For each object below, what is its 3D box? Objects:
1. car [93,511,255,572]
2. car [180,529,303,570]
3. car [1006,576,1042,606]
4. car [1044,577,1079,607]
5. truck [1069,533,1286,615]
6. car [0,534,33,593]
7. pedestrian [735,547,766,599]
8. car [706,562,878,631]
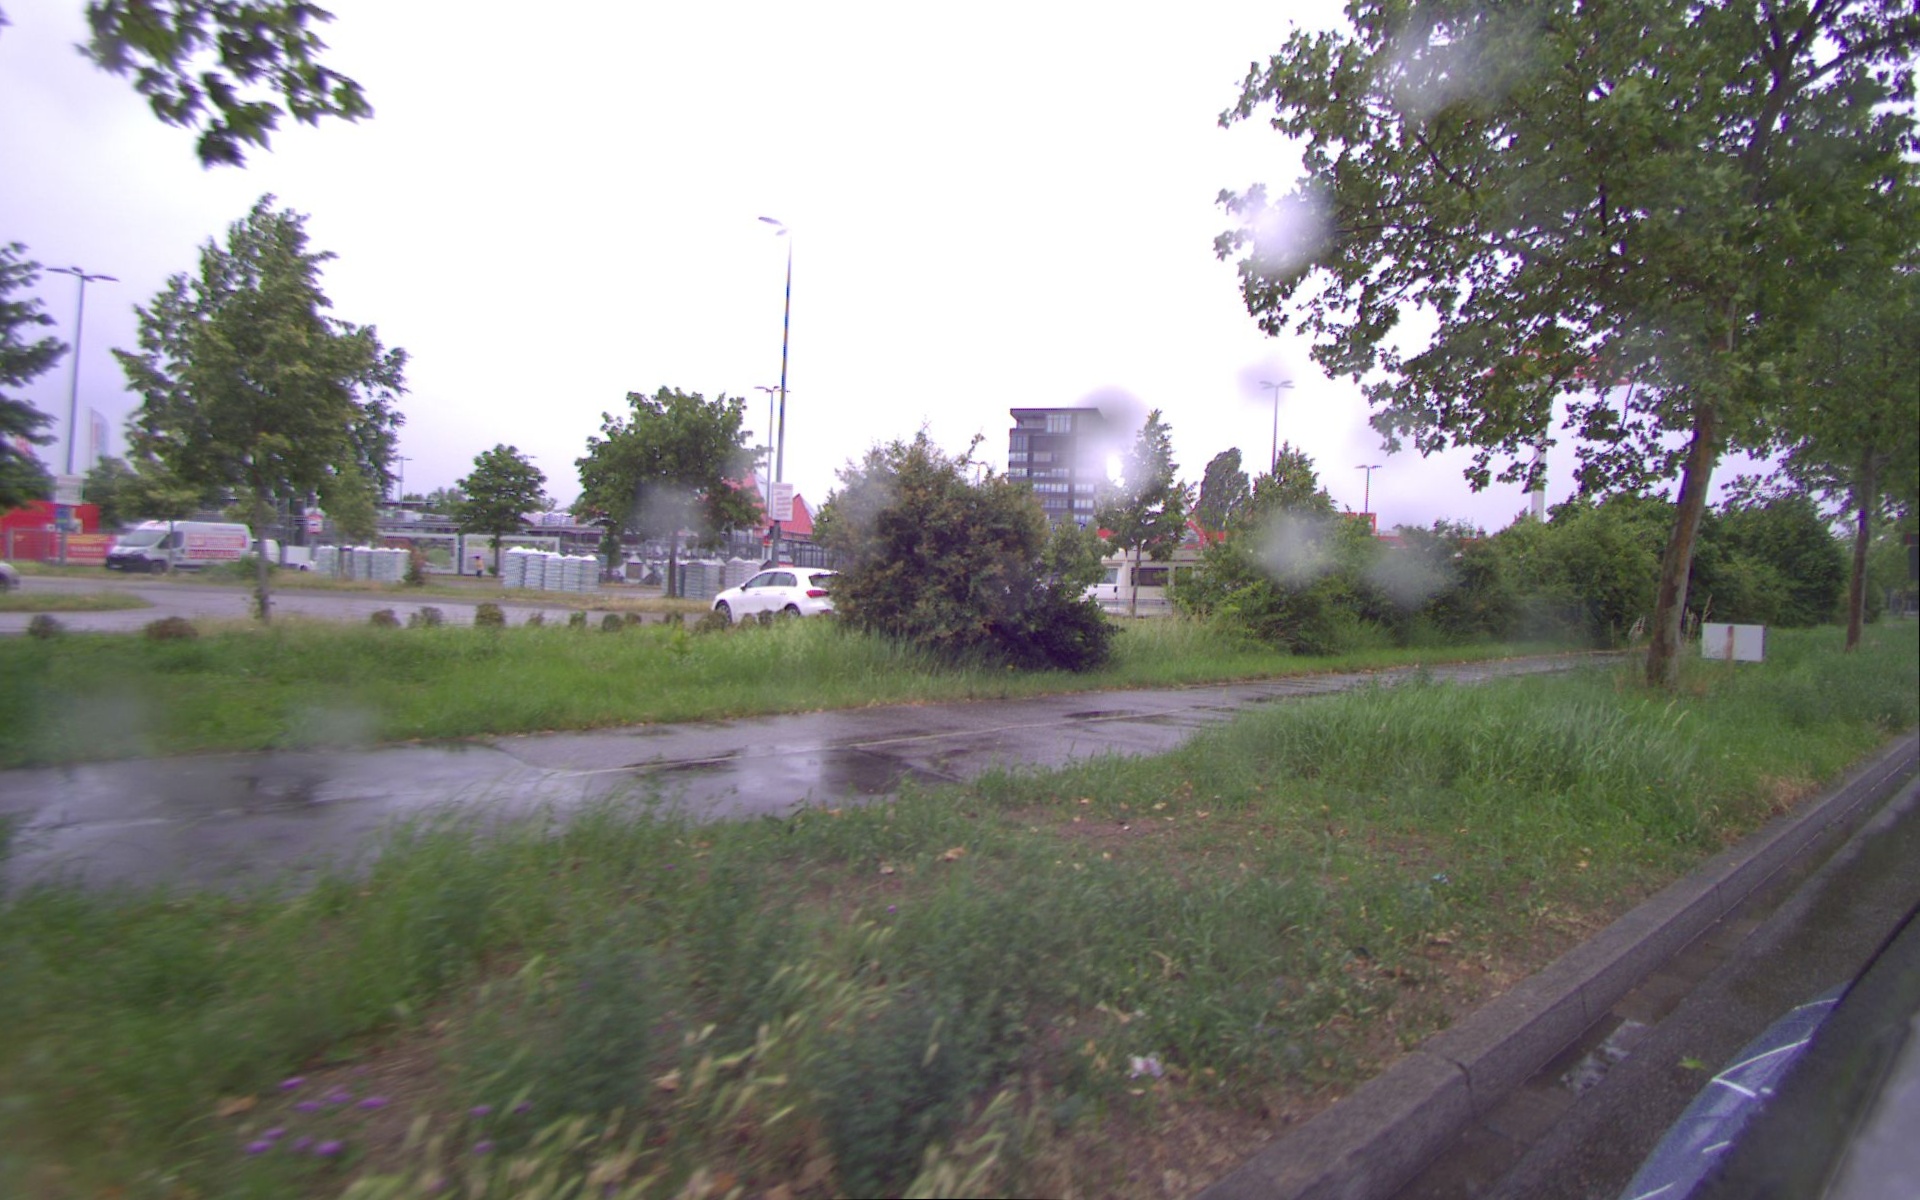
[{"bbox_3d":[-33.869,-2.439,43.861,1.969,2.364,5.652,0,1,11],"label":"car"},{"bbox_3d":[-41.261,-2.826,58.278,1.977,2.170,5.628,0,1,23],"label":"car"},{"bbox_3d":[4.532,-0.624,71.498,1.871,2.039,3.771,1,1,14],"label":"car"},{"bbox_3d":[7.153,-0.577,70.971,1.871,2.039,4.057,1,1,14],"label":"car"},{"bbox_3d":[6.691,-0.769,31.823,6.529,2.333,2.186,1,1,43],"label":"truck"},{"bbox_3d":[-23.844,-0.847,22.788,1.971,1.382,3.982,0,1,15],"label":"car"},{"bbox_3d":[-7.442,-0.957,35.930,0.702,1.810,0.786,2,1,45],"label":"pedestrian"},{"bbox_3d":[-3.787,-0.108,22.377,1.838,1.382,3.990,-1,1,-44],"label":"car"}]
